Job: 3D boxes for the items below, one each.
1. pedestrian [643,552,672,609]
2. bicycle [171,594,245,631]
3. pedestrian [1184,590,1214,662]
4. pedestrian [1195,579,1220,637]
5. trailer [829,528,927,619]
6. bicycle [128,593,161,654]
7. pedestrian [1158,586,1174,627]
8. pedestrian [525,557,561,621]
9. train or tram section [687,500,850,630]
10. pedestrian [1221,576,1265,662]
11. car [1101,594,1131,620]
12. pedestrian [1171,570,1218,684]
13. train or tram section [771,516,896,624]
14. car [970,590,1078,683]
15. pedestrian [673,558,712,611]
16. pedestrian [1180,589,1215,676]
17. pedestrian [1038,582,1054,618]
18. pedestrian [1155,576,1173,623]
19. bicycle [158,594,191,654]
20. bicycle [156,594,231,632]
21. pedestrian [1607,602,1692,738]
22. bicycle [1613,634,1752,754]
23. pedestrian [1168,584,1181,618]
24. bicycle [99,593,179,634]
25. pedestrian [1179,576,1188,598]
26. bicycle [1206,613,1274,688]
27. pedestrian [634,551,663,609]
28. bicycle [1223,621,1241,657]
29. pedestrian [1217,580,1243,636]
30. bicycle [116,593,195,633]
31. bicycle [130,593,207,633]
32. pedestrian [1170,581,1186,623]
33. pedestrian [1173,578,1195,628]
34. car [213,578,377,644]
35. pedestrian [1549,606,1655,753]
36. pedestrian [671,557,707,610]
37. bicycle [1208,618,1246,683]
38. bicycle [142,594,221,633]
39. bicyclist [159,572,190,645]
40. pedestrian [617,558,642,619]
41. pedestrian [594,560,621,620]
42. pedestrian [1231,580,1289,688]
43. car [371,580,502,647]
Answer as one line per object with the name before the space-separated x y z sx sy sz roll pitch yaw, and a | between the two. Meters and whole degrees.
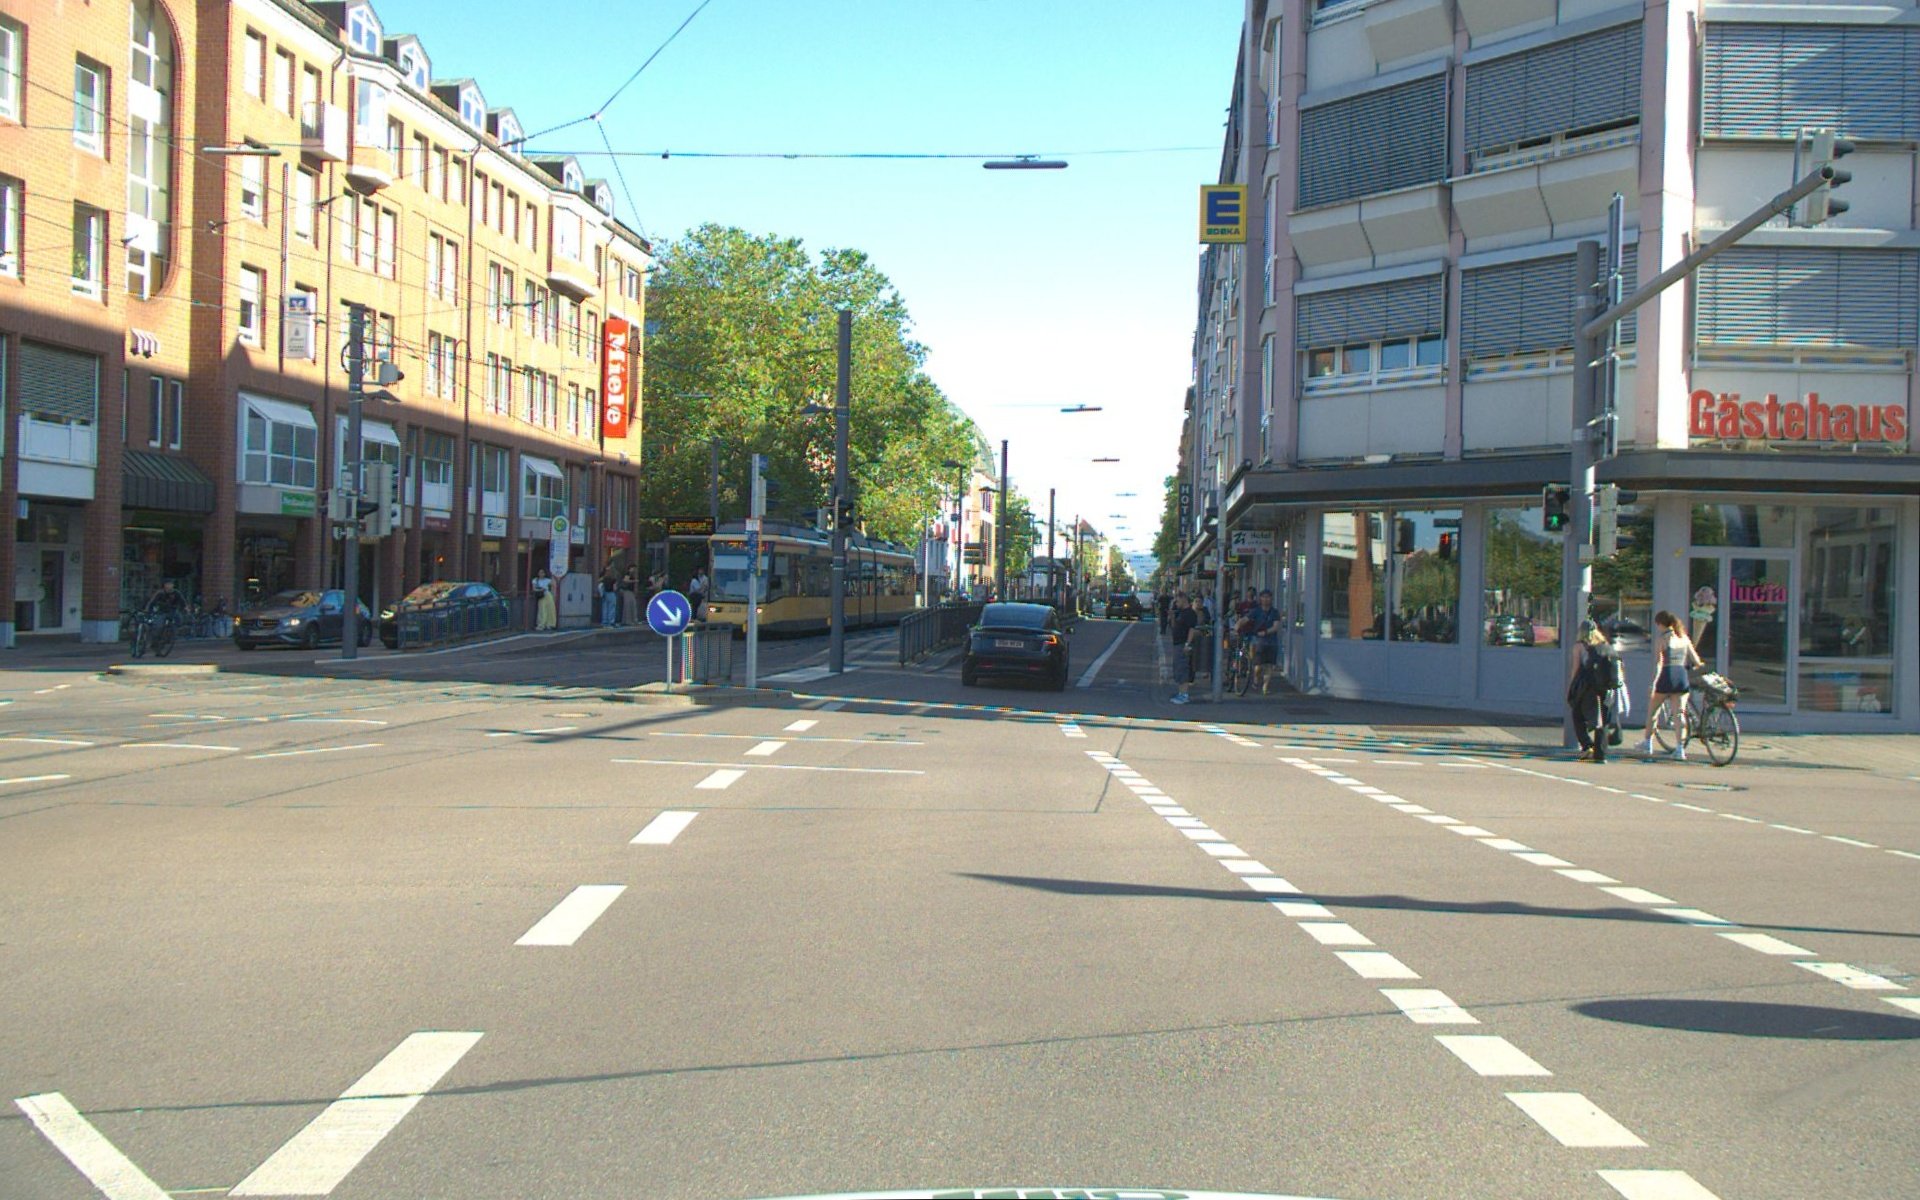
pedestrian | -9.373 -0.592 51.284 0.622 1.751 0.609 2 0 15
bicycle | -19.536 0.325 42.986 1.674 0.916 0.521 2 0 5
pedestrian | 5.849 0.626 40.505 0.682 1.707 0.750 2 0 7
pedestrian | 7.490 0.244 50.139 0.682 1.707 0.750 2 0 7
trailer | -3.412 -1.076 71.459 2.656 3.608 9.365 2 0 7
bicycle | -16.693 0.465 33.855 0.485 1.178 1.699 2 0 -29
pedestrian | 9.777 0.308 78.387 0.682 1.929 0.750 2 0 7
pedestrian | -10.522 -0.285 41.752 0.622 1.591 0.586 2 0 15
train or tram section | -5.738 -0.994 51.725 2.671 3.604 10.094 2 0 7
pedestrian | 5.768 0.387 33.756 0.673 1.718 0.670 2 0 -8
car | 10.476 0.462 110.864 1.700 1.693 3.712 2 0 9
pedestrian | 3.810 0.430 26.875 0.613 1.813 0.918 2 0 2
train or tram section | -4.540 -1.041 61.772 2.656 3.608 10.176 2 0 7
car | 1.144 0.614 29.913 1.753 1.476 3.940 3 0 2
pedestrian | -8.695 -0.502 53.838 1.083 1.653 0.848 2 0 -2
pedestrian | 4.428 0.607 30.842 0.463 1.590 0.544 2 0 -9
pedestrian | 4.469 -0.007 85.740 0.741 1.800 0.699 2 0 5
pedestrian | 8.565 -0.034 69.438 0.682 1.929 0.750 2 0 7
bicycle | -16.217 0.480 34.130 0.485 1.178 1.666 2 0 -29
bicycle | -19.599 0.325 42.317 1.674 0.916 0.521 2 0 5
pedestrian | 8.302 0.829 19.934 0.516 1.582 0.865 2 0 -10
bicycle | 8.608 1.091 19.798 0.534 1.307 1.903 2 0 -10
pedestrian | 12.328 0.069 94.891 0.682 1.929 0.750 2 0 7
bicycle | -19.796 0.319 39.904 1.674 0.916 0.521 2 0 5
pedestrian | 19.879 -1.151 147.235 0.682 1.911 0.750 2 0 8
bicycle | 4.768 0.847 28.263 0.479 1.181 1.968 2 0 -10
pedestrian | -9.544 -0.616 50.684 0.622 1.751 0.586 2 0 15
bicycle | 6.972 0.991 42.438 0.405 0.871 1.238 2 0 8
pedestrian | 8.350 0.238 51.212 0.731 1.707 0.699 2 0 7
bicycle | -19.731 0.314 40.584 1.674 0.916 0.521 2 0 5
bicycle | -19.691 0.320 41.168 1.674 0.916 0.521 2 0 5
pedestrian | 10.039 0.100 76.205 0.682 1.929 0.750 2 0 7
pedestrian | 7.809 0.090 57.652 0.682 1.707 0.750 2 0 7
car | -15.812 0.243 39.550 1.778 1.479 3.981 0 0 10
pedestrian | 7.380 0.896 19.044 0.764 1.604 0.867 2 2 -6
pedestrian | -8.657 -0.538 52.876 0.979 1.653 0.848 2 0 -2
bicycle | 4.921 0.904 30.426 0.478 1.121 2.126 2 0 14
bicycle | -19.651 0.333 41.761 1.722 0.916 0.586 2 0 5
bicyclist | -16.249 0.171 34.214 0.477 1.496 0.712 2 0 -30
pedestrian | -9.674 -0.330 48.438 0.623 1.751 0.584 2 0 -8
pedestrian | -9.310 -0.271 43.642 0.572 1.557 0.637 2 0 -5
pedestrian | 5.129 0.570 28.225 0.895 1.785 0.840 2 0 12
car | -12.828 0.323 40.769 1.779 1.571 3.794 0 0 4
